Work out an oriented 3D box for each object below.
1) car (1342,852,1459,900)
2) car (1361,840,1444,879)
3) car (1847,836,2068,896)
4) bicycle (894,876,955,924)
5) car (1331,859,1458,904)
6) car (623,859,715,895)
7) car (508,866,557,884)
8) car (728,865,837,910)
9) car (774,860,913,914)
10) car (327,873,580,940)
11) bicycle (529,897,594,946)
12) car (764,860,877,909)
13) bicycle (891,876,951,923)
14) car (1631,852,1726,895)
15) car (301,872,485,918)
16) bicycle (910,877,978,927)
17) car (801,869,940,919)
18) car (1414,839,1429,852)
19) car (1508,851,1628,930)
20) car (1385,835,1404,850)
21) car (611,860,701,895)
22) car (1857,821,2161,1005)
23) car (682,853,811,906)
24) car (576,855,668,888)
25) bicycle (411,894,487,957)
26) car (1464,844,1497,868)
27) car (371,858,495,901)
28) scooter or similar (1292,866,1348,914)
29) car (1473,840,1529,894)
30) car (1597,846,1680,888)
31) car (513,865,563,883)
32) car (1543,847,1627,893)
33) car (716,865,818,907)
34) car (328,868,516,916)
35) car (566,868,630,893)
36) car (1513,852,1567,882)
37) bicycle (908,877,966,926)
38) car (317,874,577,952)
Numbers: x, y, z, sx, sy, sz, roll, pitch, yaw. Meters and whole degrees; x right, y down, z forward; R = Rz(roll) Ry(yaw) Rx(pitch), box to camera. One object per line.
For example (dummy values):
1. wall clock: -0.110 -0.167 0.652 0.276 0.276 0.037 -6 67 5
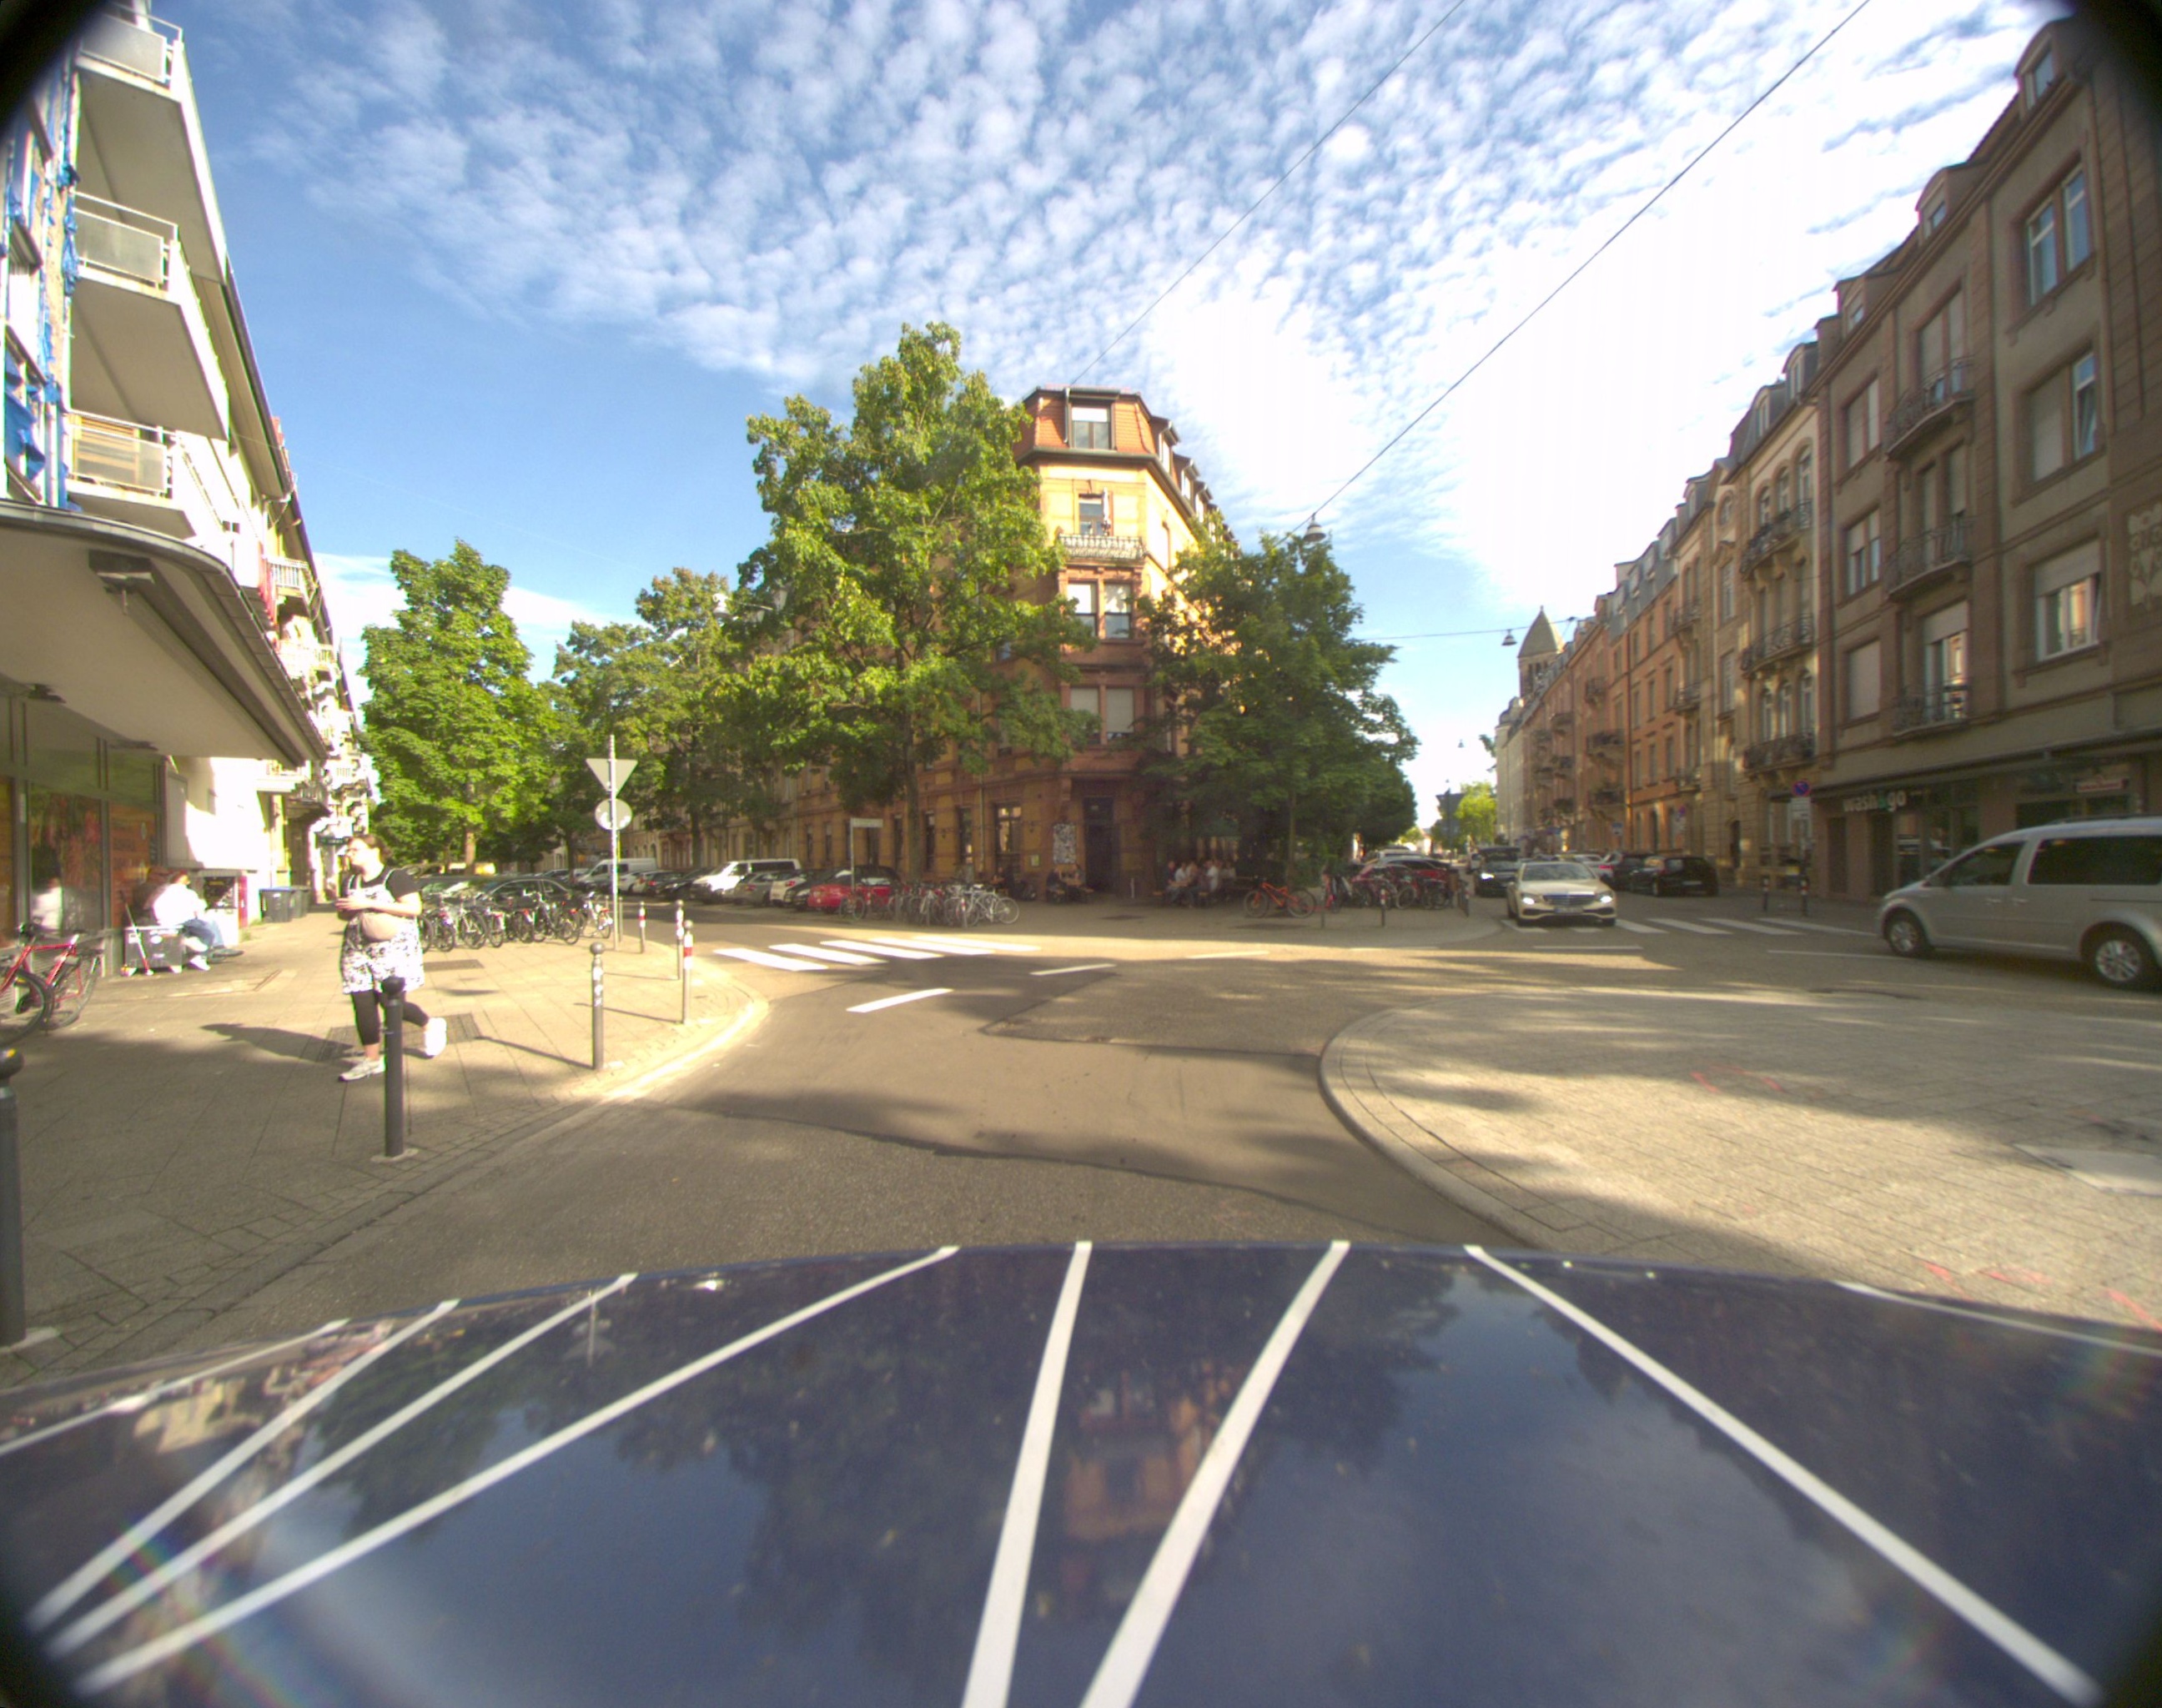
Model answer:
1. car: 11.537 0.781 27.571 3.585 1.606 1.513 1 1 1
2. car: 21.682 0.386 51.386 4.739 2.408 1.999 -2 -1 -8
3. car: 26.812 0.388 23.428 3.992 1.611 2.002 -2 -1 15
4. bicycle: -4.379 1.279 21.402 0.447 1.195 1.715 0 2 41
5. car: 10.363 0.881 25.246 3.585 1.372 1.513 1 1 -1
6. car: -25.138 1.360 46.490 4.467 1.823 1.931 -5 3 -44
7. car: -59.310 2.247 82.179 4.008 1.721 1.825 -2 -1 -42
8. car: -12.116 1.331 30.978 3.714 1.449 1.666 -5 1 -39
9. car: -8.565 1.128 27.494 4.319 1.561 2.002 -4 2 -35
10. car: -15.590 1.247 19.285 1.953 1.446 4.672 -2 -1 14
11. bicycle: -11.263 1.444 16.465 1.420 0.995 0.494 -1 -1 24
12. car: -10.163 1.161 29.705 3.715 1.711 1.856 -2 -1 -39
13. bicycle: -4.587 1.281 21.851 0.447 1.195 1.715 0 2 41
14. car: 20.999 0.649 26.867 1.721 1.360 3.836 -3 -1 24
15. car: -24.769 1.429 27.590 1.746 1.486 4.638 -2 -1 21
16. bicycle: -3.659 1.263 20.374 1.715 1.195 0.447 -3 2 -28
17. car: -6.910 1.284 25.217 4.120 1.263 1.564 -4 0 -43
18. car: 55.683 -1.378 124.119 1.995 1.877 4.007 -3 -1 26
19. car: 11.290 0.783 17.923 1.940 1.587 4.845 -3 -1 28
20. car: 38.379 -1.361 93.090 1.847 1.724 4.006 -2 -1 18
21. car: -26.773 1.450 47.935 4.467 1.823 1.931 -5 3 -44
22. car: 11.789 0.571 8.852 1.831 1.780 4.335 0 0 14
23. car: -15.406 1.118 35.171 4.920 1.978 2.041 -5 3 -44
24. car: -33.662 1.280 55.853 5.493 2.188 1.995 -2 -1 -41
25. bicycle: -11.933 1.332 14.343 1.694 1.080 0.422 0 0 25
26. car: 33.328 0.178 63.509 1.940 1.868 4.844 -2 -1 23
27. car: -35.807 1.398 42.180 2.143 2.207 4.818 -2 -1 17
28. scooter or similar: 6.349 0.935 20.224 0.557 1.203 1.289 1 0 -37
29. car: 16.957 0.497 30.814 1.789 2.051 4.007 -1 0 27
30. car: 23.009 0.486 31.547 1.858 1.575 4.405 -3 0 24
31. car: -57.497 2.149 80.478 4.008 1.721 1.825 -2 -1 -42
32. car: 19.635 0.636 29.824 1.995 1.624 4.853 -2 -2 25
33. car: -13.678 1.354 33.191 3.714 1.449 1.665 -5 3 -39
34. car: -22.665 1.271 26.406 1.746 1.486 4.638 -2 -1 21
35. car: -39.264 2.119 61.808 4.134 1.862 1.995 -2 -1 -41
36. car: 23.902 0.622 39.676 1.767 1.373 4.459 -4 -1 24
37. bicycle: -3.965 1.280 21.031 0.447 1.195 1.715 0 2 35
38. car: -13.751 1.179 16.768 1.806 1.446 4.008 0 -1 25
